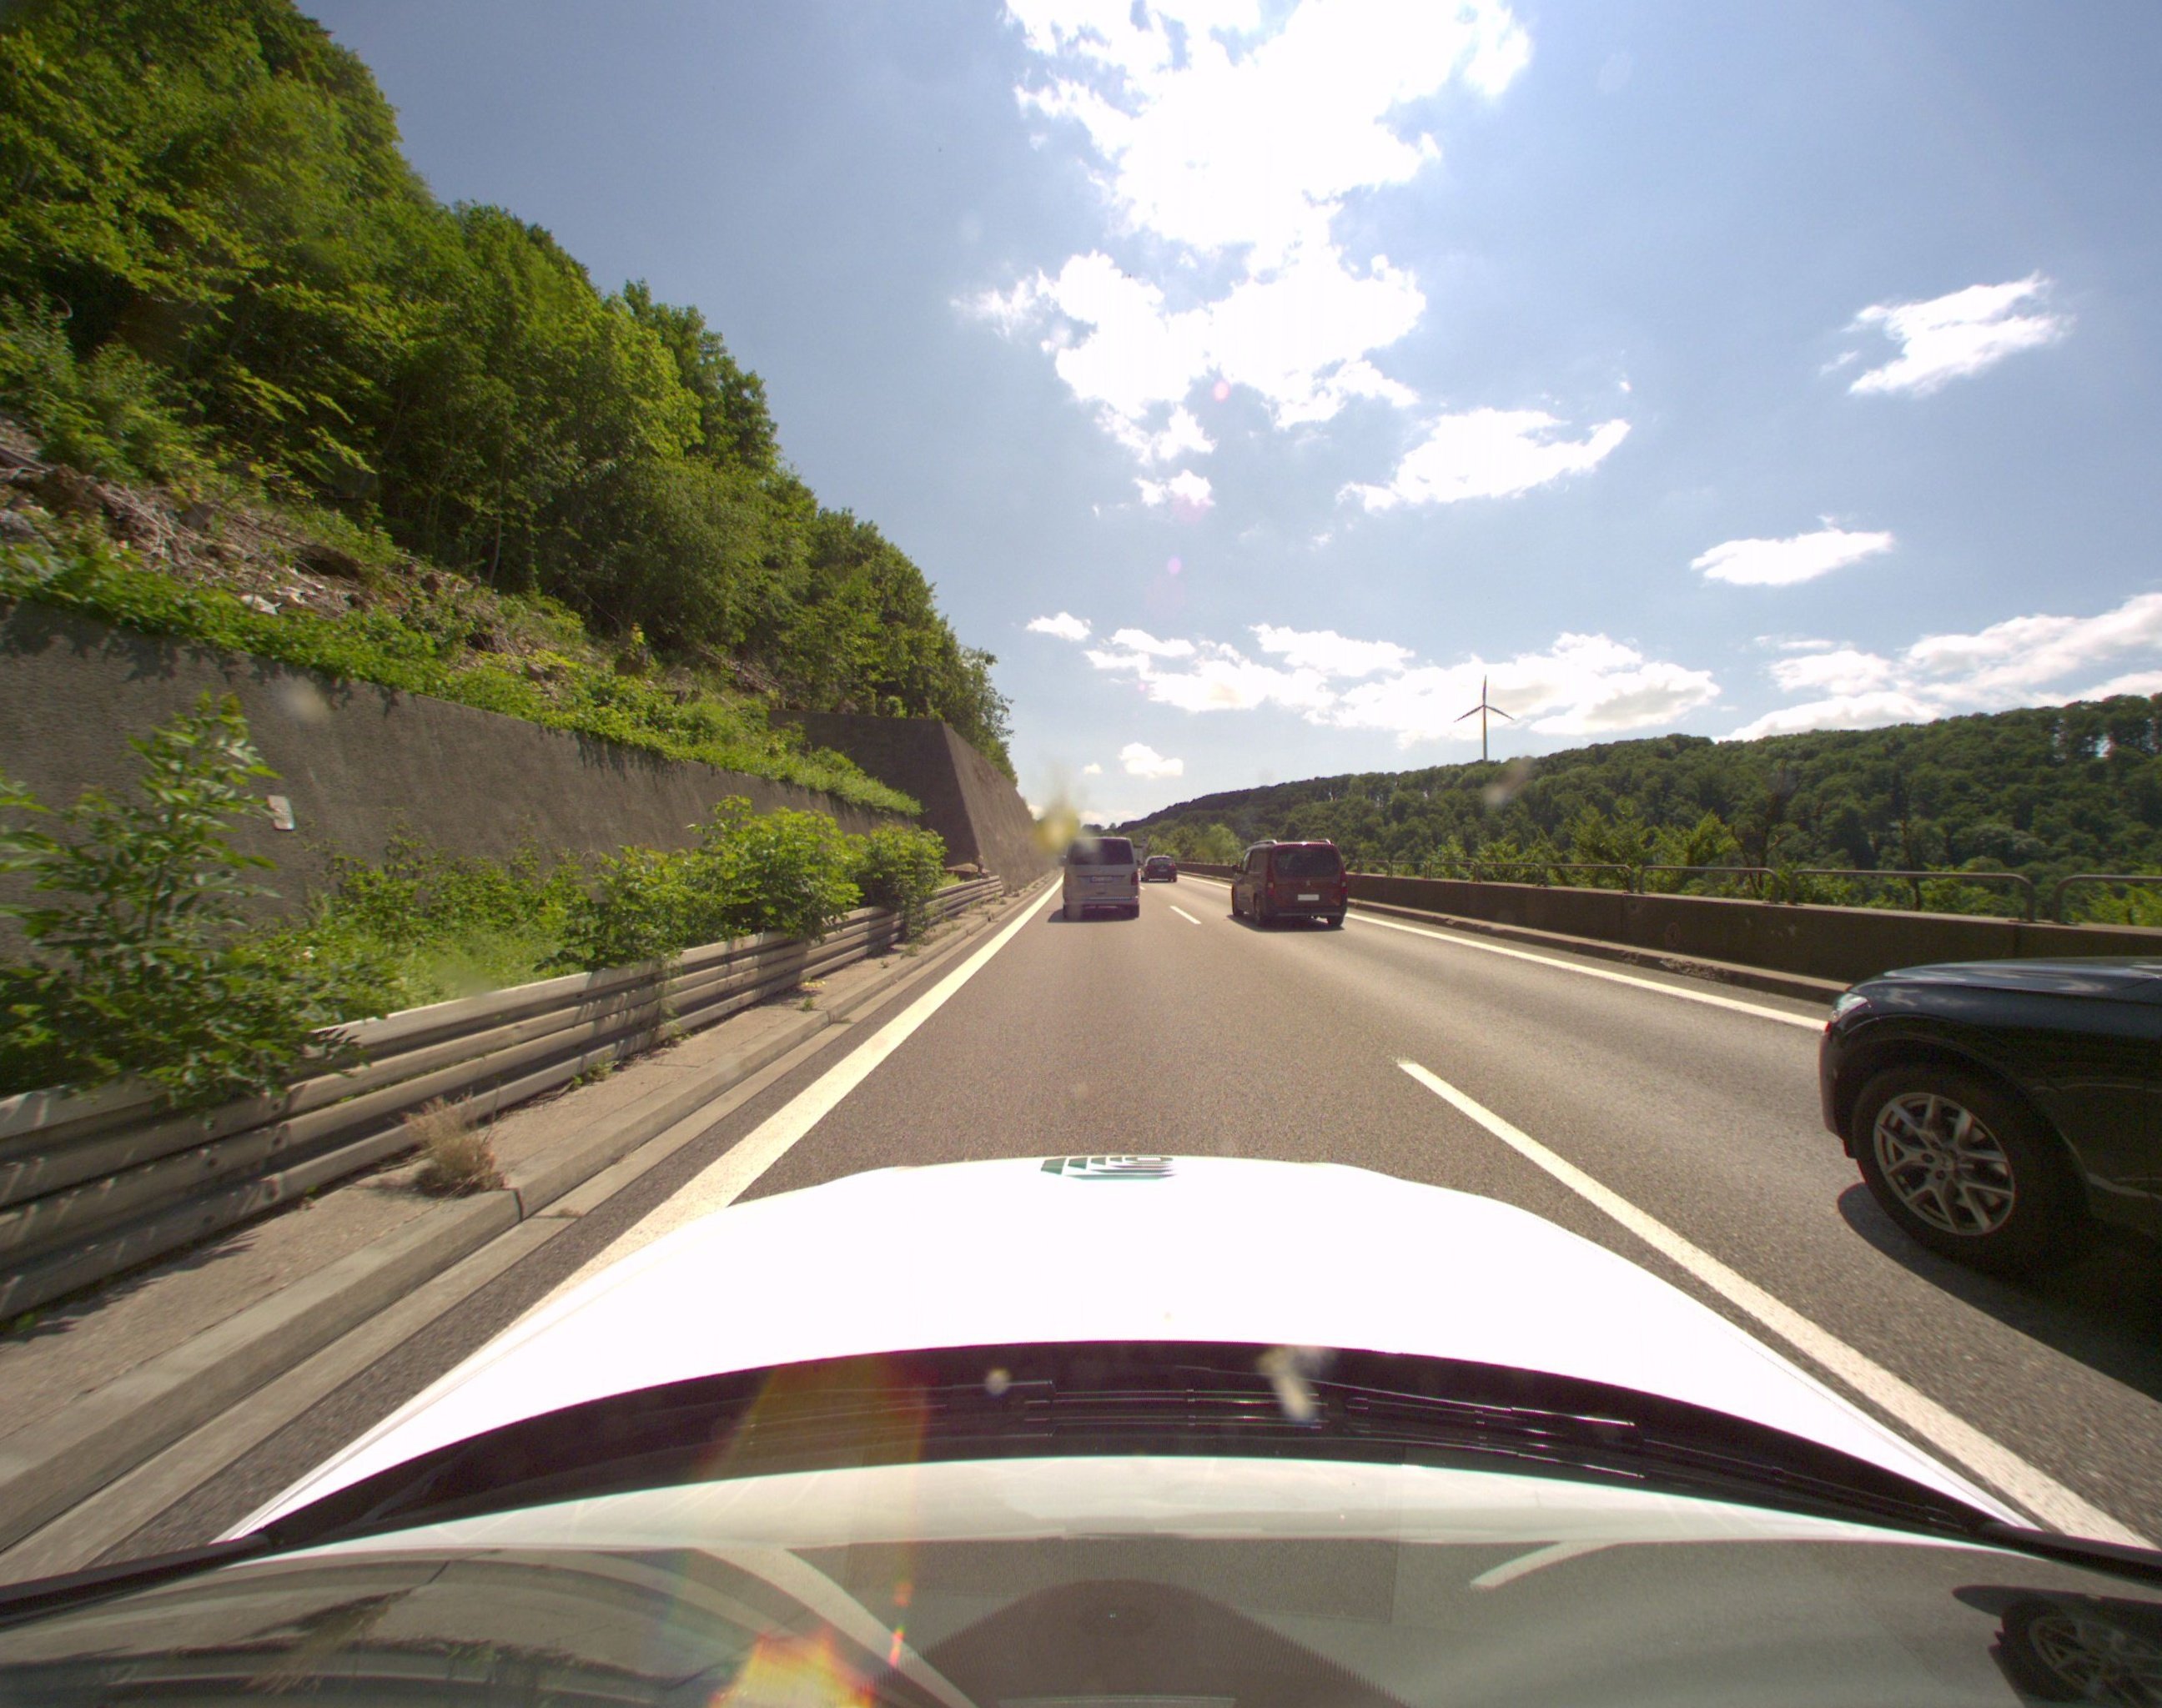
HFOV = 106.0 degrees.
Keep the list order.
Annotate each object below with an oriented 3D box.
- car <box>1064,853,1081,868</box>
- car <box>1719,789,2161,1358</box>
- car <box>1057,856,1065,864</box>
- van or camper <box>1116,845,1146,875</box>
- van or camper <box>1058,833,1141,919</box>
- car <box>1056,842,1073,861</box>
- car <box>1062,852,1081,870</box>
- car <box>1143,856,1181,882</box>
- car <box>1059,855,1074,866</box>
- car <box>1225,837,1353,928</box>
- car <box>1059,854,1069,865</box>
[{"bbox_3d":[-1.103,0.820,104.201,1.988,1.915,3.997,-1,0,-2],"label":"car"},{"bbox_3d":[4.014,0.631,1.675,1.828,1.633,4.662,1,-1,1],"label":"car"},{"bbox_3d":[-4.538,1.348,184.907,1.839,1.750,4.000,-1,0,0],"label":"car"},{"bbox_3d":[4.535,0.543,74.677,2.257,2.551,4.735,-2,0,-1],"label":"van or camper"},{"bbox_3d":[0.476,0.536,21.148,1.869,1.949,4.294,-2,-1,1],"label":"van or camper"},{"bbox_3d":[-4.321,-0.626,210.685,4.036,4.871,10.093,-1,0,-4],"label":"car"},{"bbox_3d":[-1.040,0.713,86.718,1.989,1.817,3.996,-1,0,-2],"label":"car"},{"bbox_3d":[4.513,0.815,45.671,1.763,1.375,3.592,-1,0,0],"label":"car"},{"bbox_3d":[-2.300,1.039,129.896,2.138,1.607,5.072,-1,0,-3],"label":"car"},{"bbox_3d":[4.593,0.592,18.717,1.826,1.784,4.677,-1,-1,2],"label":"car"},{"bbox_3d":[-3.510,1.140,165.968,1.988,2.014,3.998,-2,-1,-1],"label":"car"}]
